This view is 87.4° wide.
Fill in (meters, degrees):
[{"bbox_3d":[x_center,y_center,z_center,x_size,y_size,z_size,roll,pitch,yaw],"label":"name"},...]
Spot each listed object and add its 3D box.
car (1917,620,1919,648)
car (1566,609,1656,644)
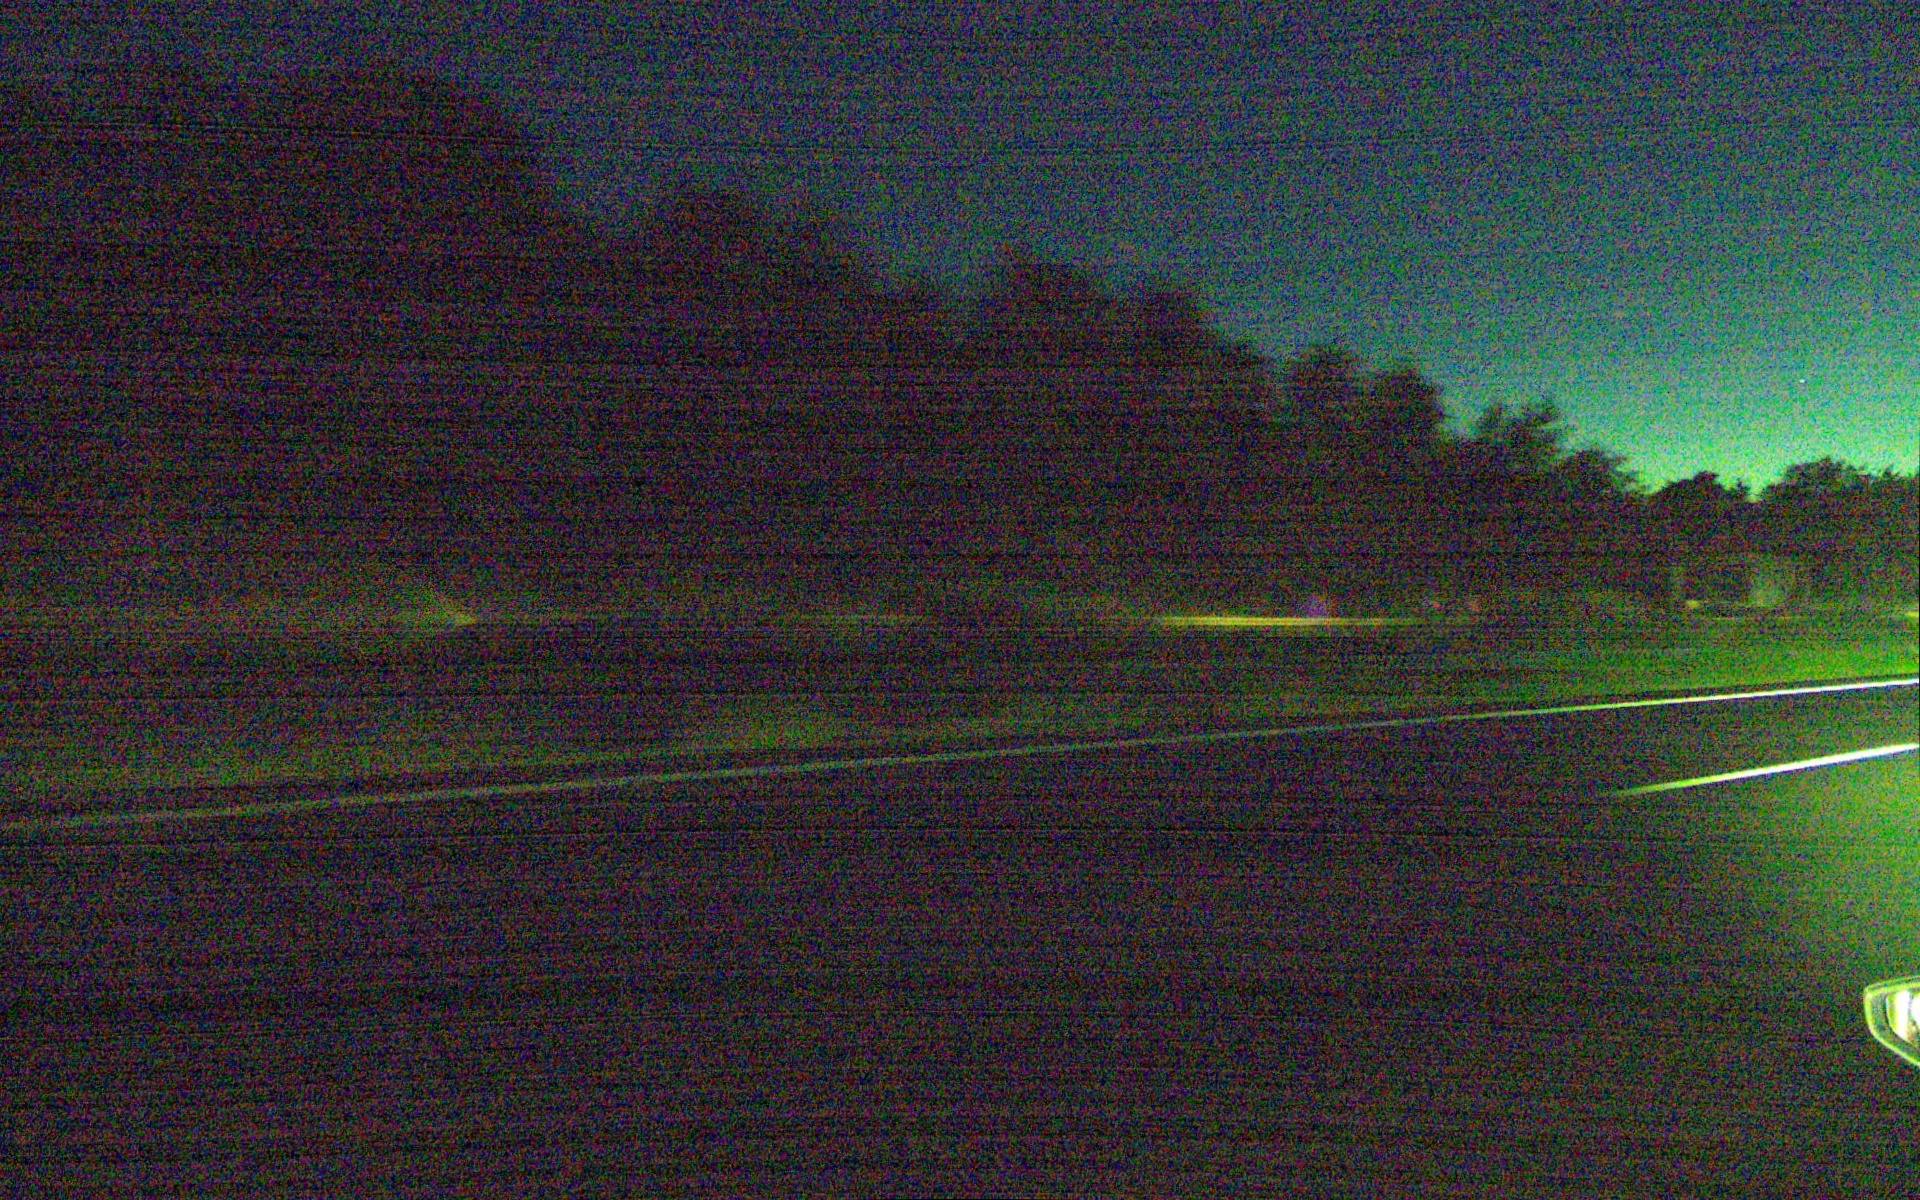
[{"bbox_3d":[54.805,1.911,55.435,3.955,1.528,1.983,1,0,-32],"label":"car"},{"bbox_3d":[29.678,1.199,45.790,3.955,1.528,1.983,1,0,-32],"label":"car"}]
